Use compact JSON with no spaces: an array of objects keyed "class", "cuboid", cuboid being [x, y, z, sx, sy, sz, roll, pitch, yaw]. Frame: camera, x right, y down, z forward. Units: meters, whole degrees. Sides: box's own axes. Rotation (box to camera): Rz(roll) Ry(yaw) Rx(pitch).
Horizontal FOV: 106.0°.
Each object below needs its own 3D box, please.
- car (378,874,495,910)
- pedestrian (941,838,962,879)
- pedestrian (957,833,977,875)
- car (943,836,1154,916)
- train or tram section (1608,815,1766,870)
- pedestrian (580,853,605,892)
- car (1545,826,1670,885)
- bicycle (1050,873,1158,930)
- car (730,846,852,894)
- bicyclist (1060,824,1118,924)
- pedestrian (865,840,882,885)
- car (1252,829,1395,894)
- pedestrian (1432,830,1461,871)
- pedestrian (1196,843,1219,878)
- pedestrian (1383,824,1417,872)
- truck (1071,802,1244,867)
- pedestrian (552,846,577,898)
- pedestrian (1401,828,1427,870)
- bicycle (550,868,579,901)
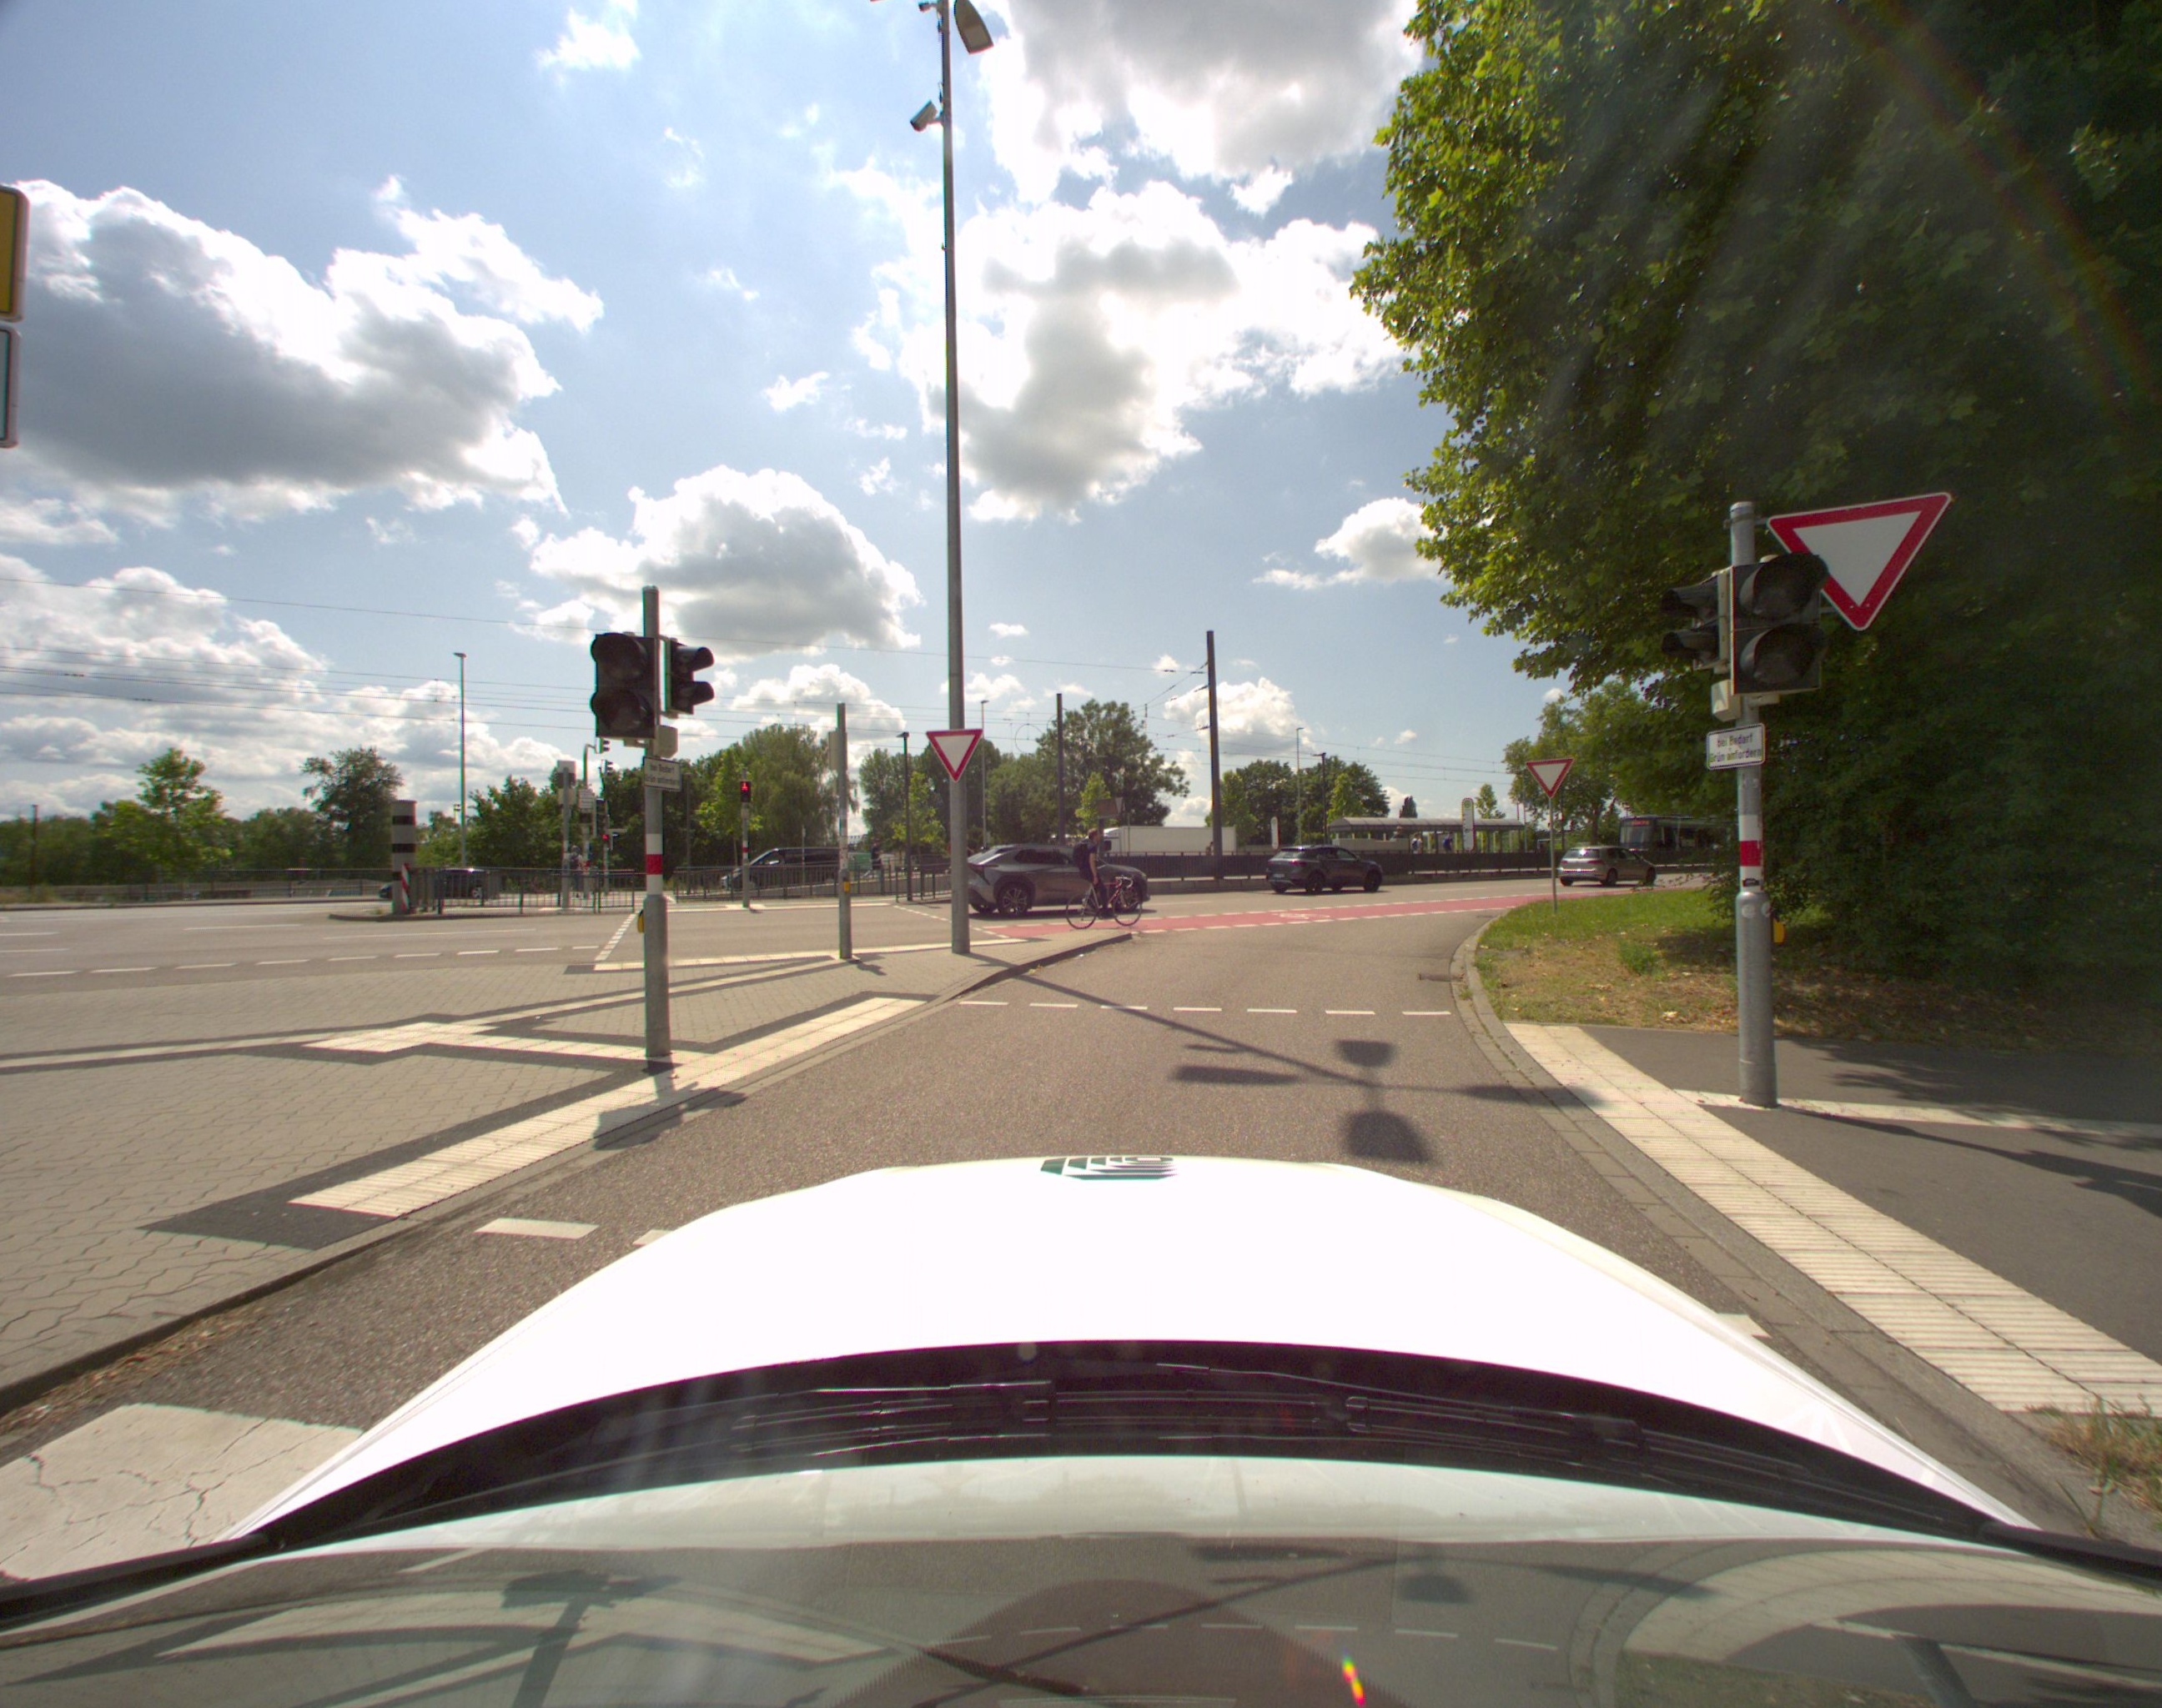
[{"class":"car","cuboid":[-28.332,1.636,35.961,3.909,1.409,1.652,-1,0,-35]},{"class":"pedestrian","cuboid":[-5.493,0.180,34.532,0.709,1.721,0.596,-2,0,-25]},{"class":"pedestrian","cuboid":[-4.776,0.002,34.035,0.679,1.748,0.632,-1,1,-25]},{"class":"car","cuboid":[-0.724,0.449,18.848,4.531,1.674,1.887,-1,0,-28]},{"class":"train or tram section","cuboid":[39.569,-0.710,52.870,14.145,3.186,3.017,-1,-1,-31]},{"class":"pedestrian","cuboid":[-25.592,0.954,42.675,0.989,2.013,0.893,-2,0,-36]},{"class":"car","cuboid":[19.402,0.027,29.989,4.374,1.989,1.982,-2,0,-28]},{"class":"bicycle","cuboid":[0.460,0.880,15.623,2.028,0.999,0.616,0,0,-28]},{"class":"car","cuboid":[-12.355,0.644,34.744,4.678,1.820,1.982,-2,0,-28]},{"class":"bicyclist","cuboid":[0.151,0.367,15.460,0.926,1.846,0.606,-1,0,-28]},{"class":"pedestrian","cuboid":[-8.179,0.325,32.082,0.525,1.721,0.724,-2,0,-24]},{"class":"car","cuboid":[7.974,0.224,26.734,4.374,1.989,1.982,0,-1,-28]},{"class":"pedestrian","cuboid":[15.785,-0.156,35.153,0.932,1.755,0.729,-1,0,-28]},{"class":"pedestrian","cuboid":[6.534,0.330,42.129,0.932,1.807,0.729,-1,0,-28]},{"class":"pedestrian","cuboid":[13.333,-0.260,34.017,0.997,1.939,0.868,-2,0,-29]},{"class":"truck","cuboid":[5.382,-1.328,55.647,12.024,4.104,2.926,-1,0,-27]},{"class":"pedestrian","cuboid":[-17.906,0.613,28.239,0.614,1.769,0.666,-1,0,-26]},{"class":"pedestrian","cuboid":[14.997,-0.227,36.655,0.869,1.871,0.677,-2,0,3]},{"class":"bicycle","cuboid":[-17.917,1.043,28.267,0.622,1.087,1.708,-1,0,-25]}]
